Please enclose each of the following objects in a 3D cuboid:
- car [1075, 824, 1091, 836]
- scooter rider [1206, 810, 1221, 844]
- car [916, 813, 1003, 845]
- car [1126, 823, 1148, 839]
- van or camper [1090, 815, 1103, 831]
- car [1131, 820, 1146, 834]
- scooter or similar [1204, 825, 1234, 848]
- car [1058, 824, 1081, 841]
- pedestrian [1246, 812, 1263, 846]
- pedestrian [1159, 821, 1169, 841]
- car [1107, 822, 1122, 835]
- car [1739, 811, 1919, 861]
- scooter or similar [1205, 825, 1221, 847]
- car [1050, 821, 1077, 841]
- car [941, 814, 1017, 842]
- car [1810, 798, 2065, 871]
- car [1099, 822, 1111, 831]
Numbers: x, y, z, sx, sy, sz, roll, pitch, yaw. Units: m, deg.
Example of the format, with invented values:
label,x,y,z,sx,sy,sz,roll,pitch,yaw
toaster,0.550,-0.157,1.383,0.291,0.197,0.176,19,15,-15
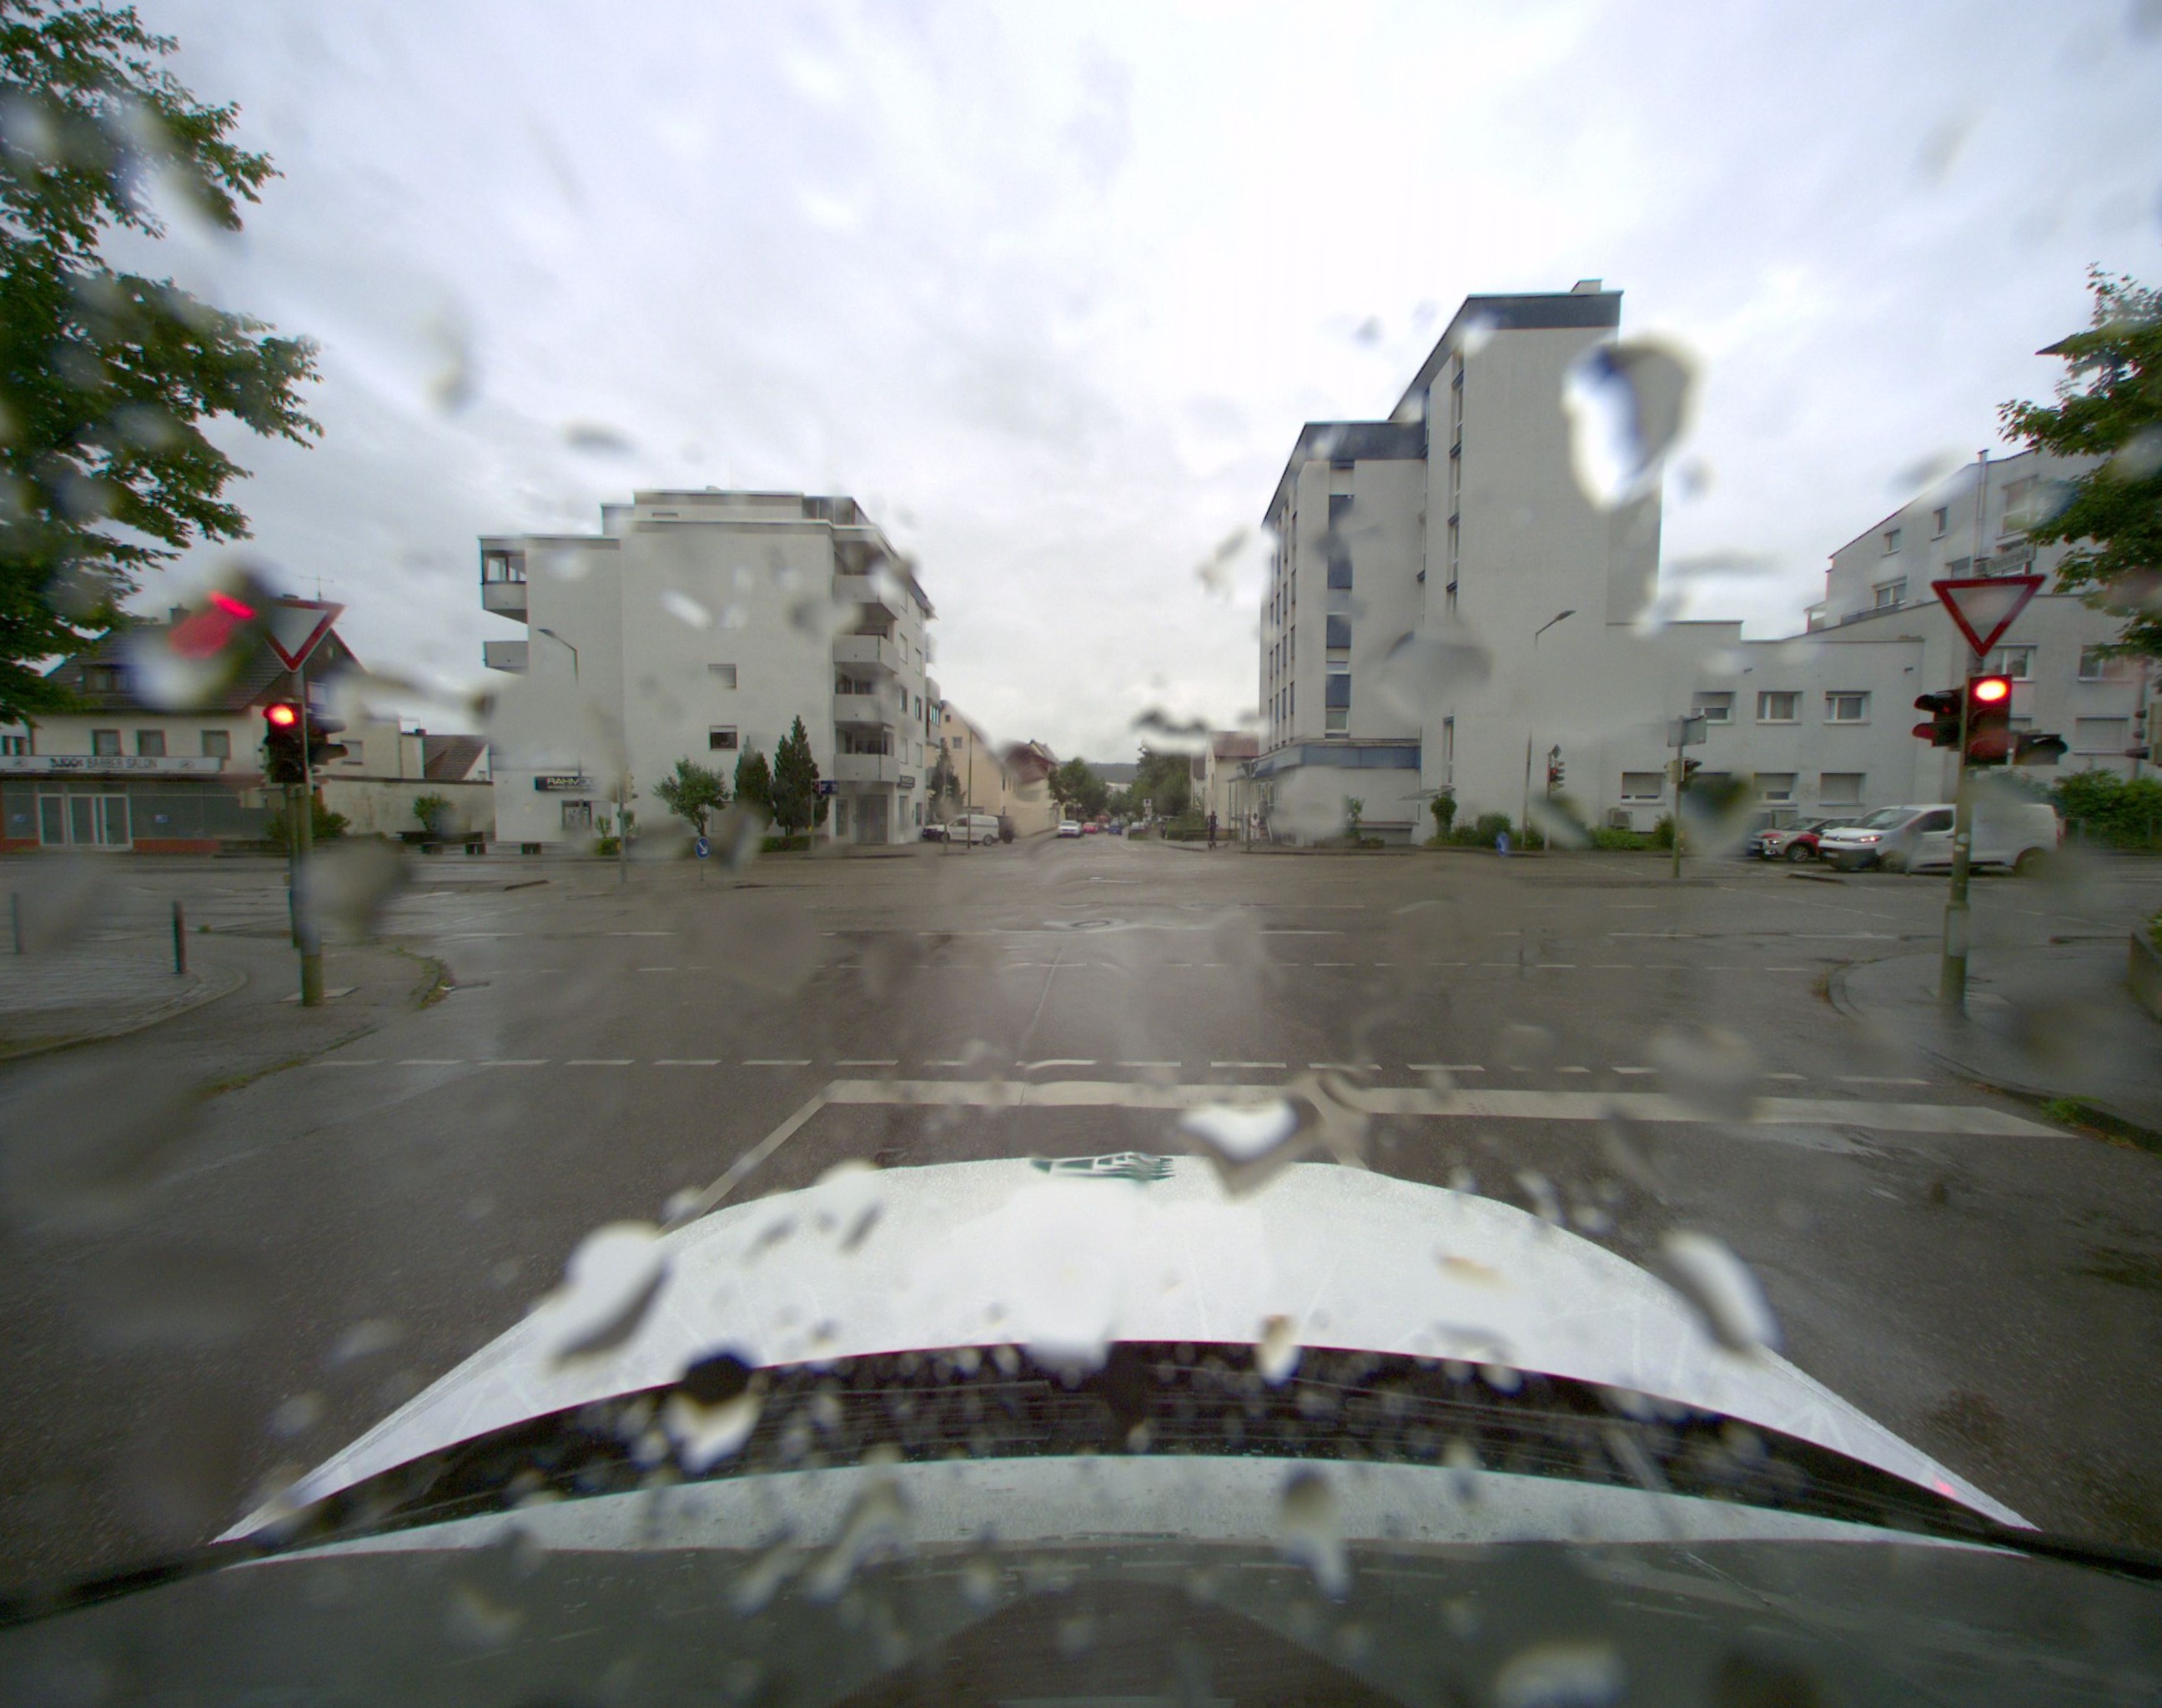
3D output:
label,x,y,z,sx,sy,sz,roll,pitch,yaw
car,0.240,-3.151,106.235,1.894,1.558,4.195,-1,2,3
scooter rider,7.134,-1.463,43.951,0.748,1.795,0.674,-1,1,5
car,-7.335,-1.541,49.583,4.866,1.835,1.978,-2,2,-36
car,5.692,-2.327,83.316,2.137,1.589,4.132,-1,2,3
van or camper,2.498,-4.859,128.309,1.894,2.513,4.243,-1,2,3
car,7.398,-3.505,105.218,1.894,1.745,4.195,-1,2,3
scooter or similar,6.809,-0.871,40.215,1.265,1.081,0.876,-1,1,-3
car,-1.118,-2.136,81.201,1.985,1.625,4.195,-1,2,3
pedestrian,8.774,-1.254,41.156,0.646,1.647,0.525,3,1,-4
pedestrian,7.786,-2.177,76.666,0.744,1.848,0.525,3,1,-4
car,4.523,-3.412,110.419,1.987,1.683,4.001,-1,2,0
car,23.880,-0.584,26.145,3.966,1.467,1.835,-1,2,6
scooter or similar,7.146,-0.981,44.080,0.753,1.171,1.316,-1,1,4
car,-1.498,-1.957,69.797,1.985,1.625,4.195,-1,2,3
car,-7.034,-1.792,56.550,4.866,1.835,1.978,-2,2,-36
car,23.559,-0.507,22.580,4.787,1.916,1.831,0,0,8
car,4.101,-4.685,140.389,1.894,1.558,4.195,-1,2,3
